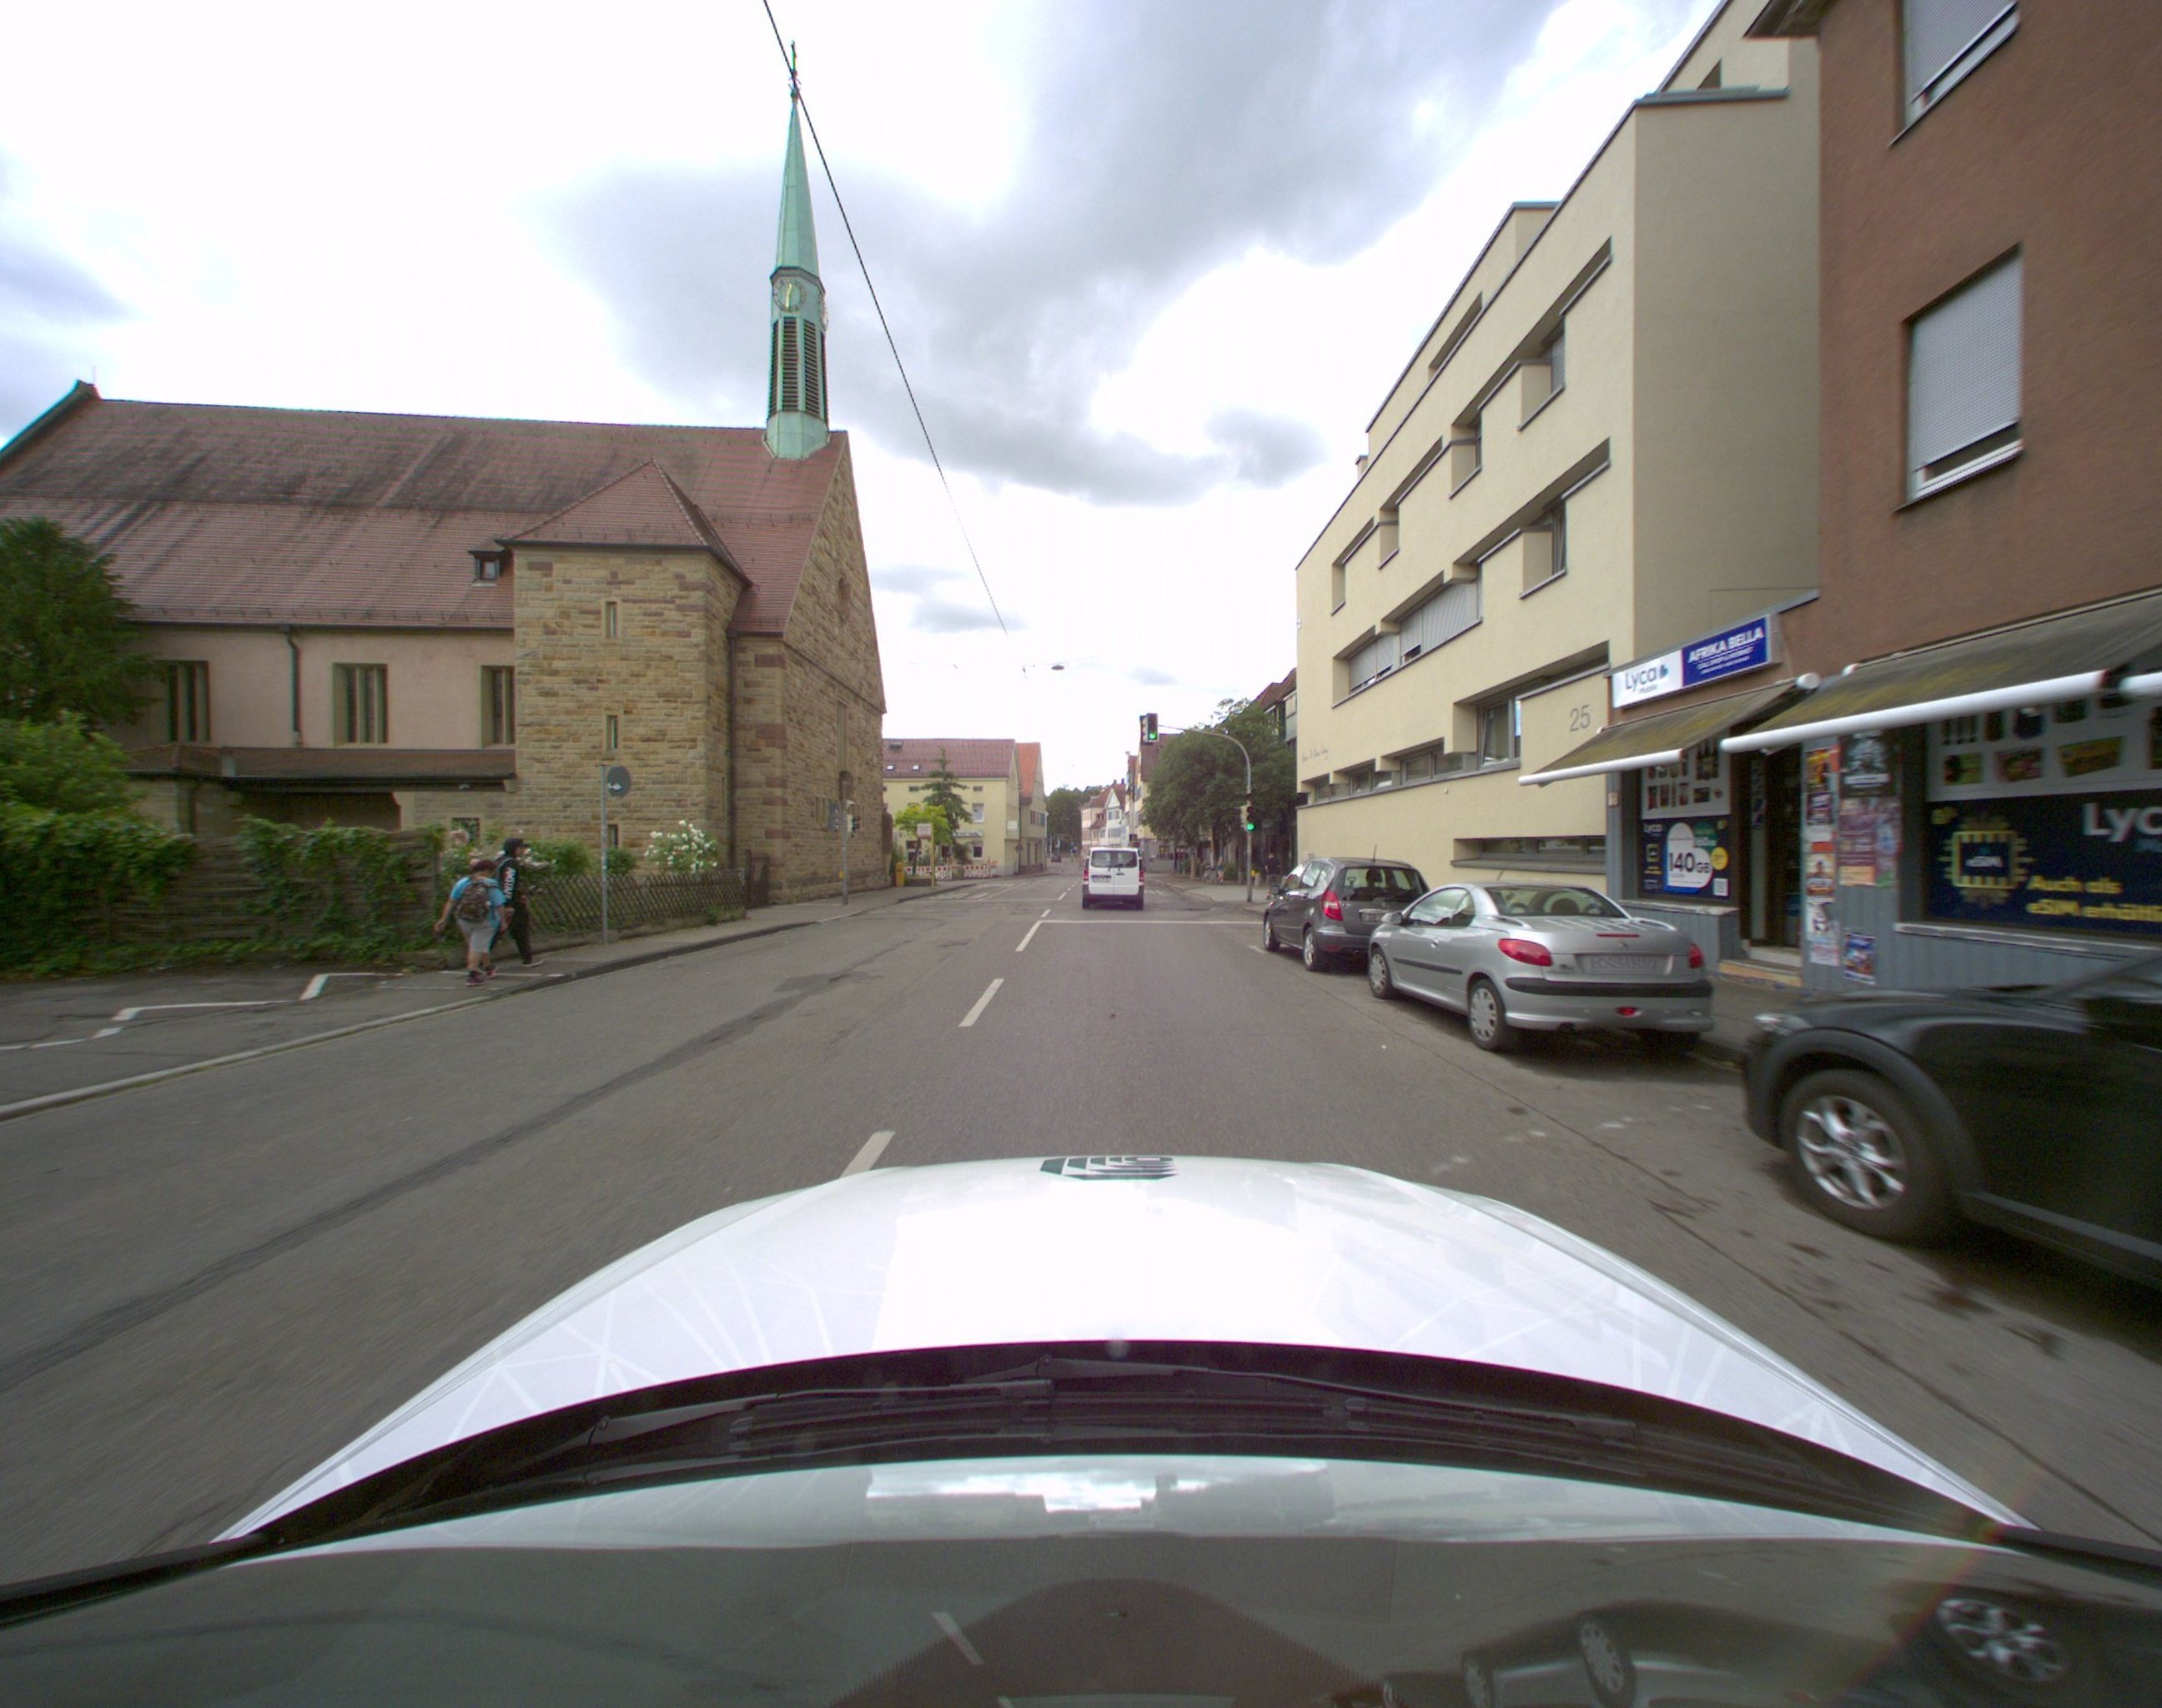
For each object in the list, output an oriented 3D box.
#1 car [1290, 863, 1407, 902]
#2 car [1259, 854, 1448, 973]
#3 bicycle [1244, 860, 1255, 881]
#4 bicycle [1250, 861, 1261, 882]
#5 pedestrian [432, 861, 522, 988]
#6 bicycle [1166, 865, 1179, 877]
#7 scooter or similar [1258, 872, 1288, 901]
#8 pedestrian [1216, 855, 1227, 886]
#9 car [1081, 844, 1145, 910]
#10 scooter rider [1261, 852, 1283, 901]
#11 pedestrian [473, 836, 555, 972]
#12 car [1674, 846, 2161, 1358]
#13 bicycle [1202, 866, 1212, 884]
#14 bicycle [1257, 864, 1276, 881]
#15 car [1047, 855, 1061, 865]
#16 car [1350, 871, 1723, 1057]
[{"bbox_3d":[11.298,1.175,34.695,4.486,1.574,1.856,0,-1,7],"label":"car"},{"bbox_3d":[3.994,0.807,12.602,1.706,1.560,3.785,0,-1,1],"label":"car"},{"bbox_3d":[10.894,1.077,52.765,0.331,1.300,1.959,0,-1,0],"label":"bicycle"},{"bbox_3d":[11.312,1.112,52.780,0.331,1.300,1.959,0,-1,0],"label":"bicycle"},{"bbox_3d":[-7.673,0.870,10.372,0.568,1.554,0.697,1,-1,2],"label":"pedestrian"},{"bbox_3d":[8.283,1.518,73.843,0.501,1.106,1.628,-1,-1,-19],"label":"bicycle"},{"bbox_3d":[6.535,1.110,27.722,0.661,0.946,0.817,-3,-2,-10],"label":"scooter or similar"},{"bbox_3d":[7.981,0.935,46.342,0.598,1.716,0.862,-1,-1,8],"label":"pedestrian"},{"bbox_3d":[1.028,0.716,25.887,1.865,1.912,4.002,0,-1,2],"label":"car"},{"bbox_3d":[6.515,0.777,27.730,0.452,1.632,0.502,-3,-2,-13],"label":"scooter rider"},{"bbox_3d":[-8.043,0.695,11.574,0.568,1.848,0.697,2,-1,2],"label":"pedestrian"},{"bbox_3d":[4.013,0.740,2.285,1.597,1.518,4.207,0,-1,-1],"label":"car"},{"bbox_3d":[8.282,1.353,53.457,0.331,1.141,1.959,0,-1,0],"label":"bicycle"},{"bbox_3d":[12.031,1.185,52.912,0.543,1.069,2.288,-1,-1,-3],"label":"bicycle"},{"bbox_3d":[-5.573,1.177,167.194,1.937,2.014,3.981,1,-1,-14],"label":"car"},{"bbox_3d":[4.007,0.855,7.943,1.546,1.333,3.812,0,-1,1],"label":"car"}]
